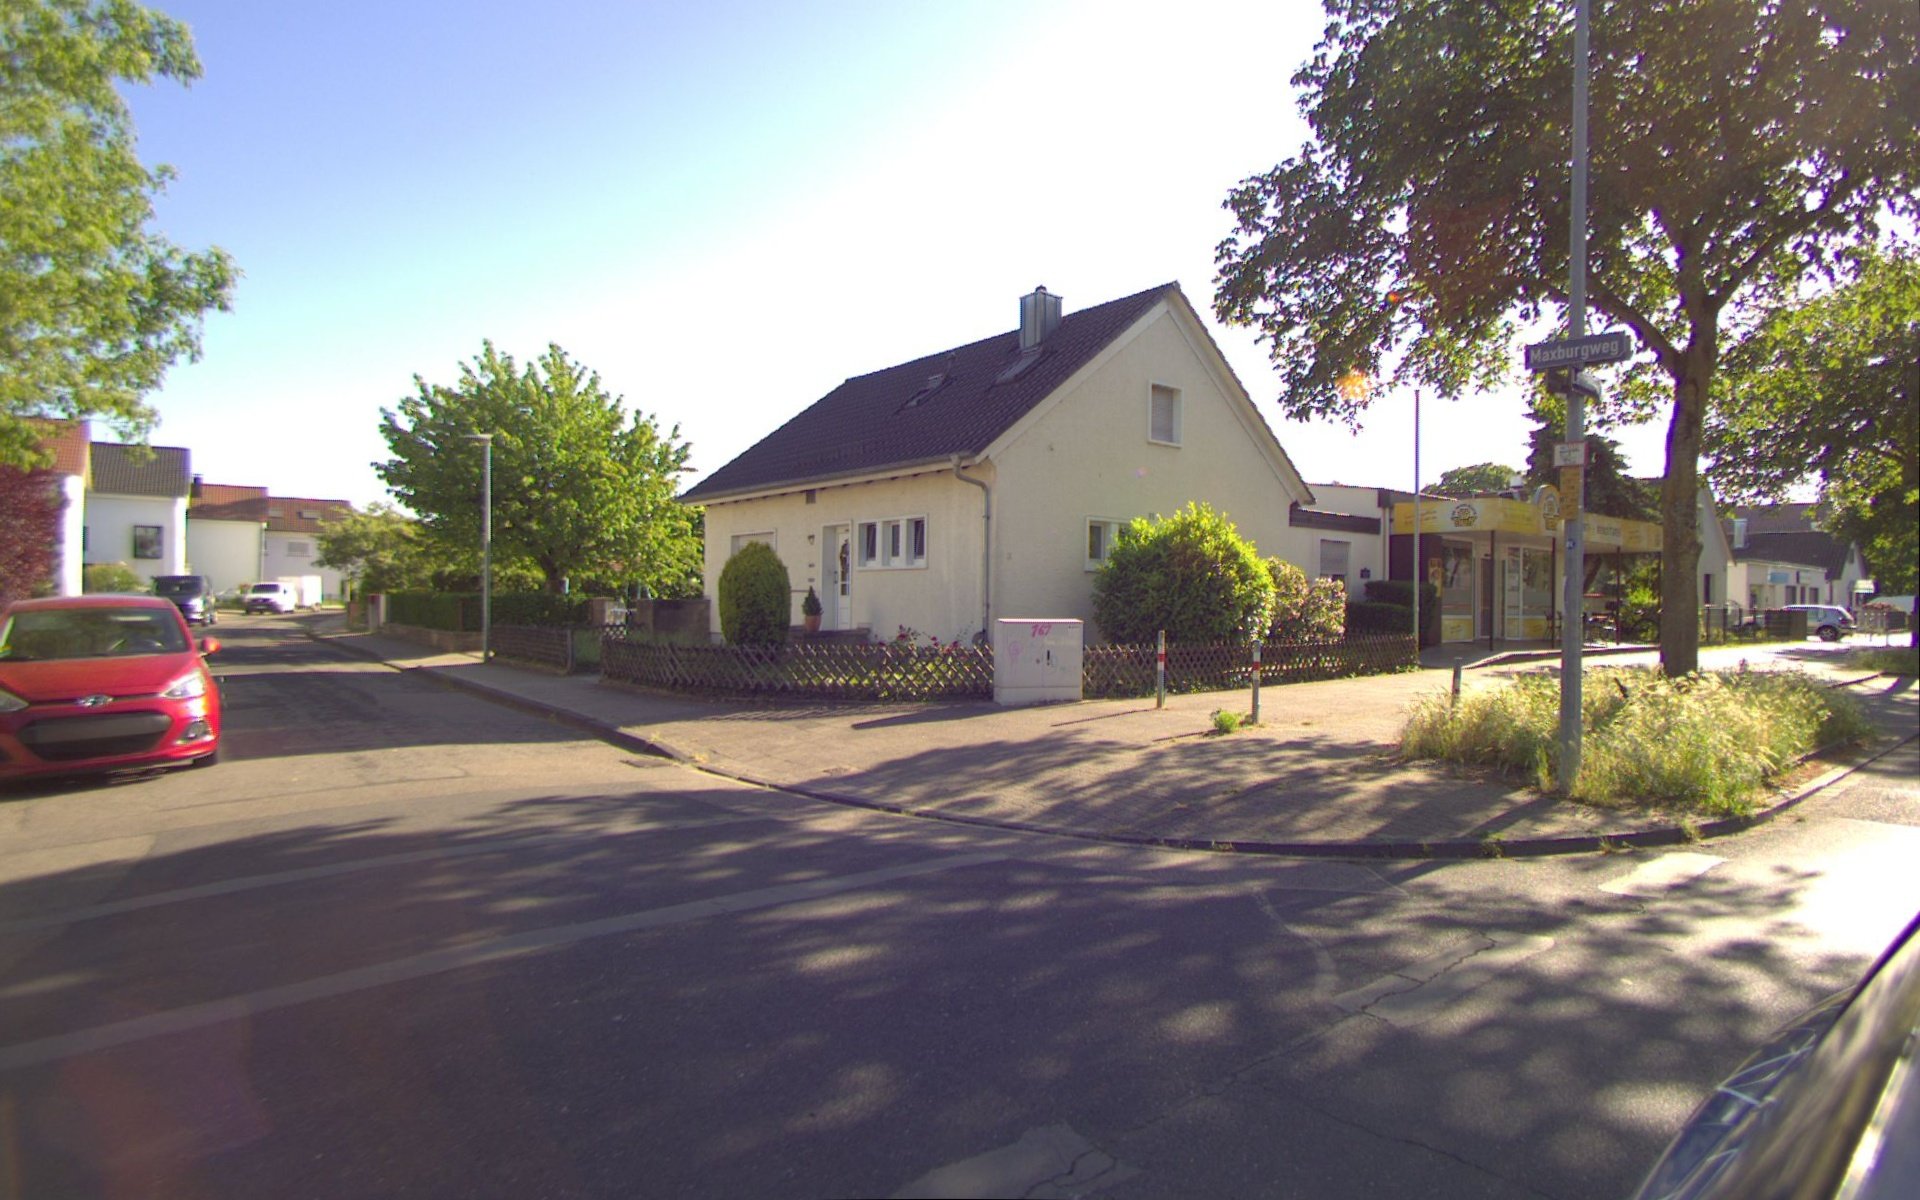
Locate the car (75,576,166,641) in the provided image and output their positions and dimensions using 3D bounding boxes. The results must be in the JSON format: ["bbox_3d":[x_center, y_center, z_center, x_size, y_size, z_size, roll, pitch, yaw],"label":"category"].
[{"bbox_3d":[-21.370,0.198,25.722,1.612,1.530,3.544,0,0,-43],"label":"car"}]

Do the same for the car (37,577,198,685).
[{"bbox_3d":[-13.760,0.417,16.447,1.812,1.530,3.958,0,0,-43],"label":"car"}]

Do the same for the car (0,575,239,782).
[{"bbox_3d":[-7.850,0.585,9.230,1.612,1.530,3.544,2,-1,-43],"label":"car"}]

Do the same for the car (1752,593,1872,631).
[{"bbox_3d":[35.675,0.515,42.417,1.667,1.458,3.615,0,-2,-42],"label":"car"}]

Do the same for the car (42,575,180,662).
[{"bbox_3d":[-16.774,0.298,20.172,1.853,1.530,4.311,1,0,-37],"label":"car"}]
